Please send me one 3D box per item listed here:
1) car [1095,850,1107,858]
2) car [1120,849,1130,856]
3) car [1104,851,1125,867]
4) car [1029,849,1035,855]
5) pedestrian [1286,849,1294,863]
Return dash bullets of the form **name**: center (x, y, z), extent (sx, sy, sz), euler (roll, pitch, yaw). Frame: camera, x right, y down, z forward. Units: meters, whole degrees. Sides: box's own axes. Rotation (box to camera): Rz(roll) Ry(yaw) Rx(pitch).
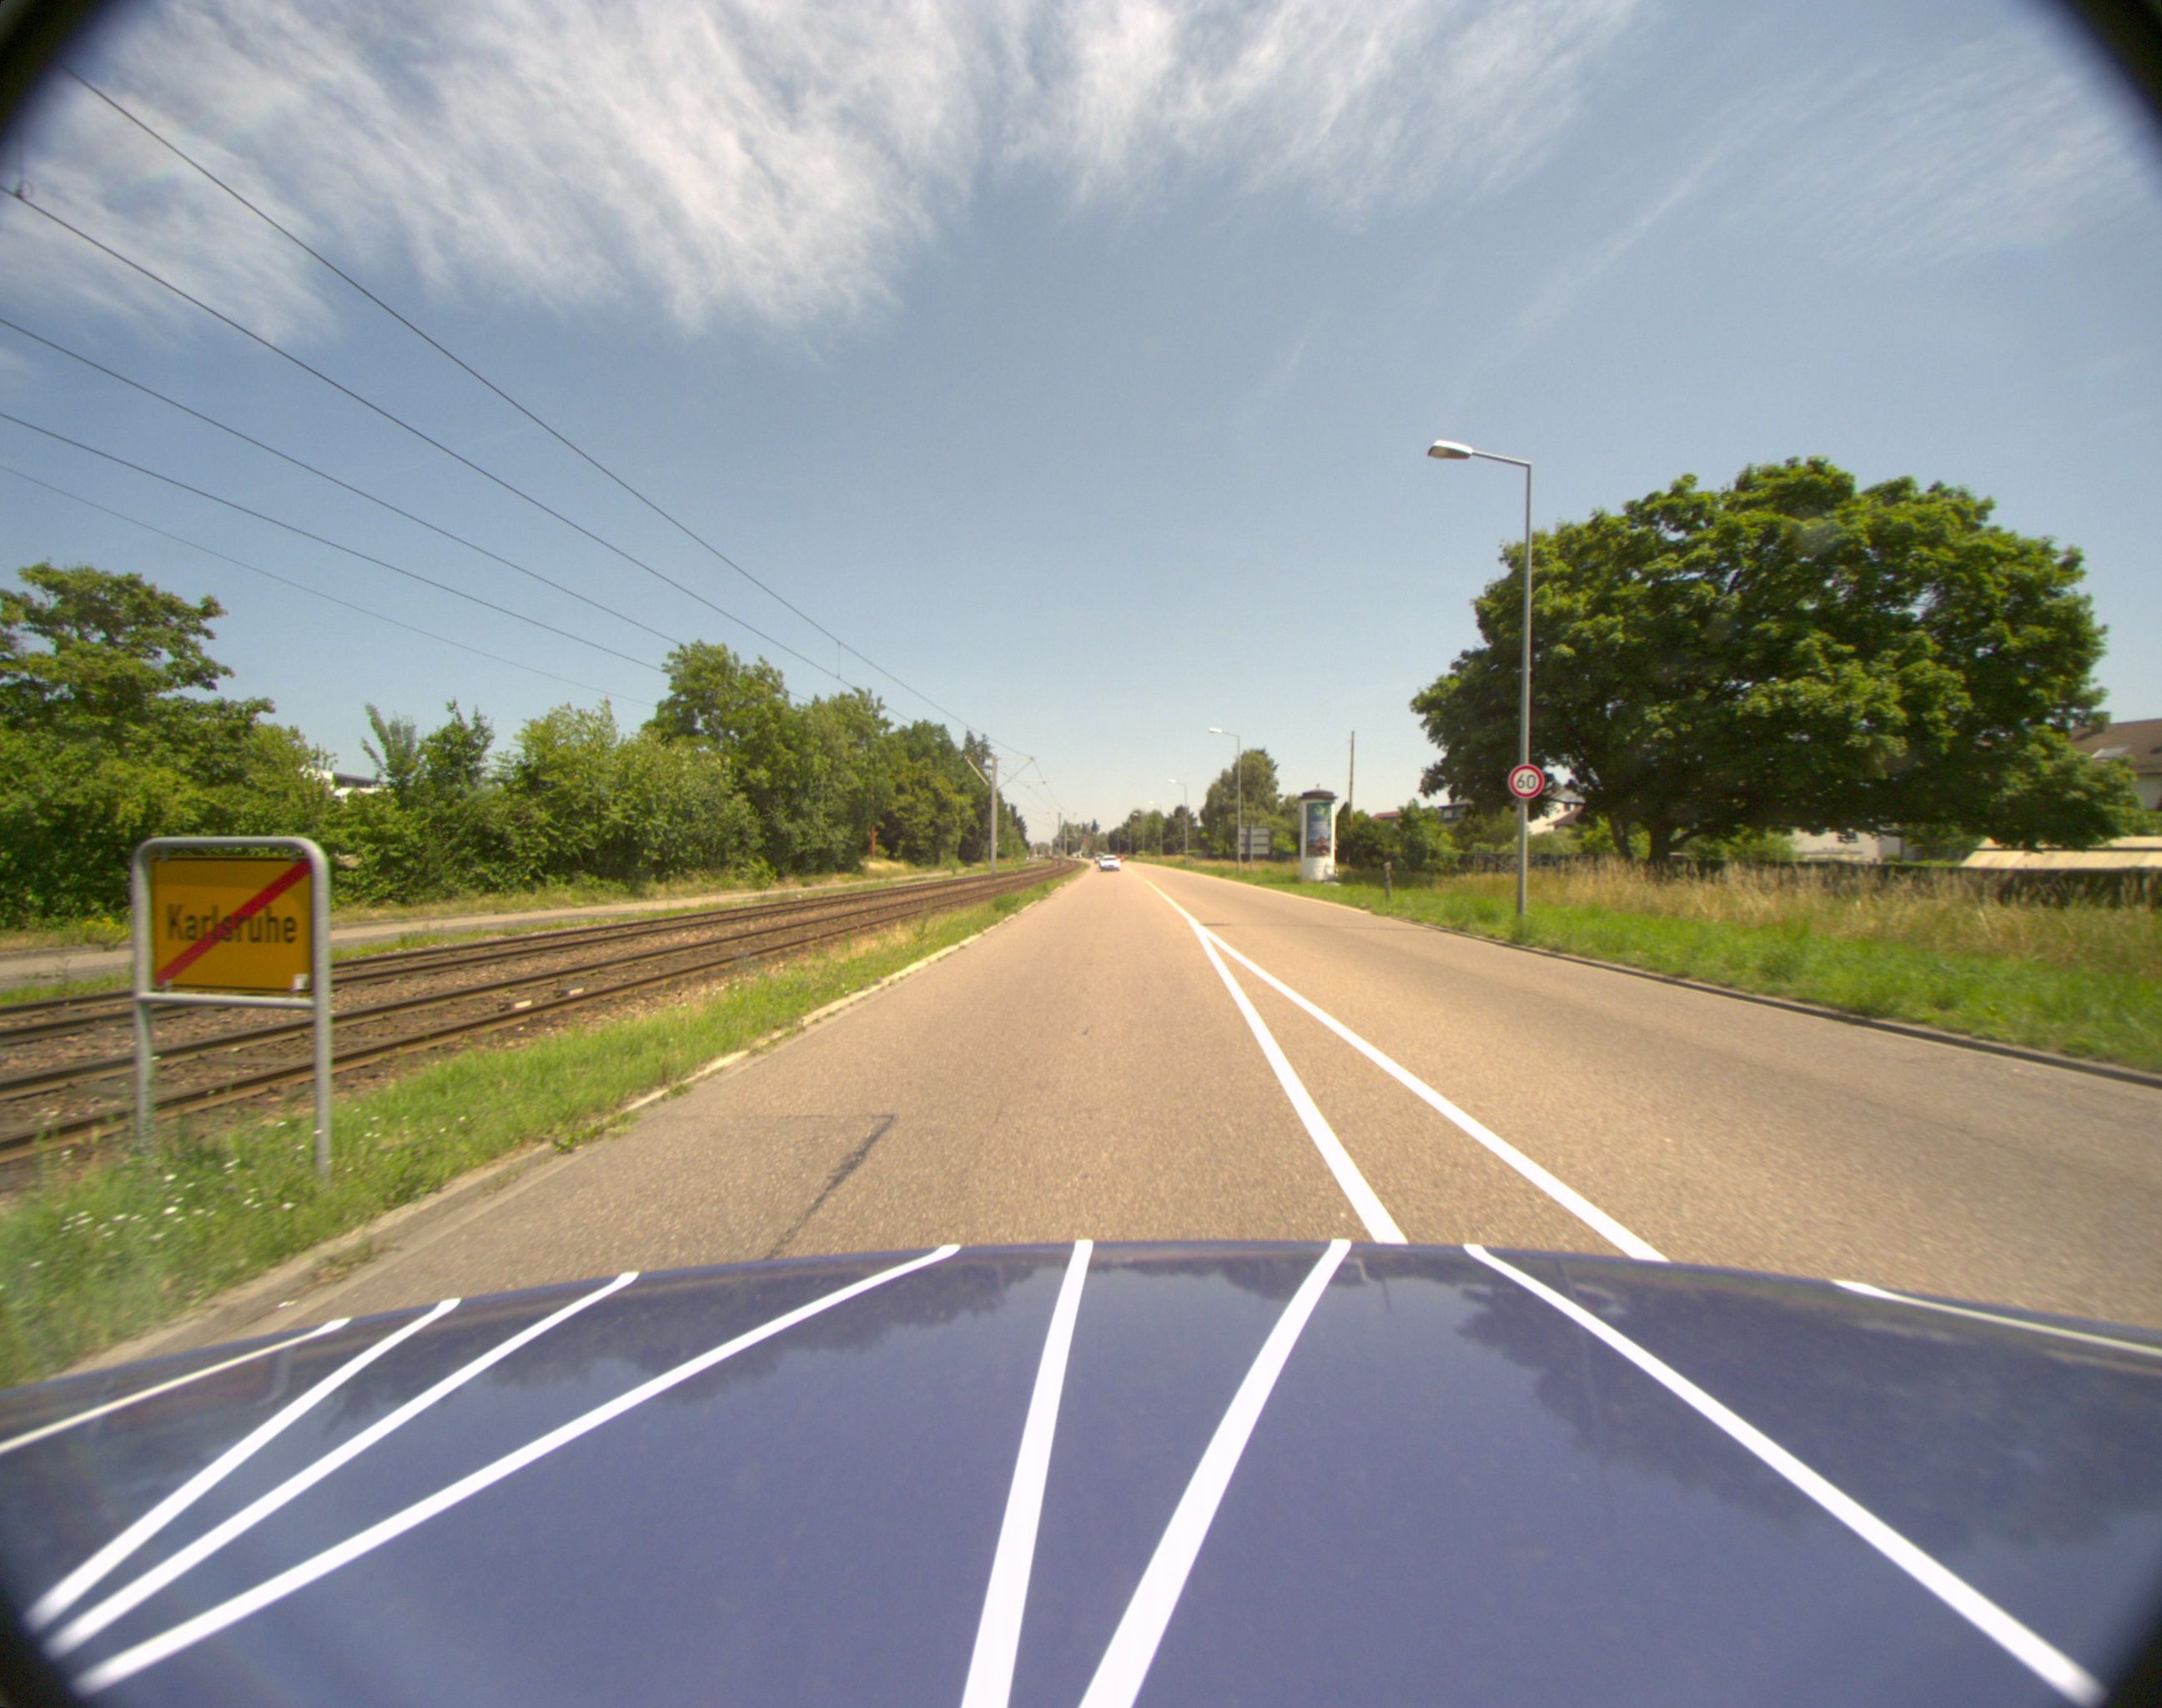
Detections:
- **car**: center (3.648, -0.073, 137.454), extent (1.891, 1.456, 3.999), euler (0, 0, -2)
- **car**: center (8.744, -0.337, 151.444), extent (1.683, 1.391, 3.999), euler (-1, 1, 0)
- **car**: center (3.215, 0.417, 73.088), extent (1.954, 1.467, 4.362), euler (0, 1, 3)
- **car**: center (-16.478, -0.674, 257.856), extent (1.946, 1.685, 3.998), euler (-3, 1, -3)
- **pedestrian**: center (19.523, 0.188, 70.993), extent (0.582, 1.347, 0.799), euler (-1, 1, 4)
